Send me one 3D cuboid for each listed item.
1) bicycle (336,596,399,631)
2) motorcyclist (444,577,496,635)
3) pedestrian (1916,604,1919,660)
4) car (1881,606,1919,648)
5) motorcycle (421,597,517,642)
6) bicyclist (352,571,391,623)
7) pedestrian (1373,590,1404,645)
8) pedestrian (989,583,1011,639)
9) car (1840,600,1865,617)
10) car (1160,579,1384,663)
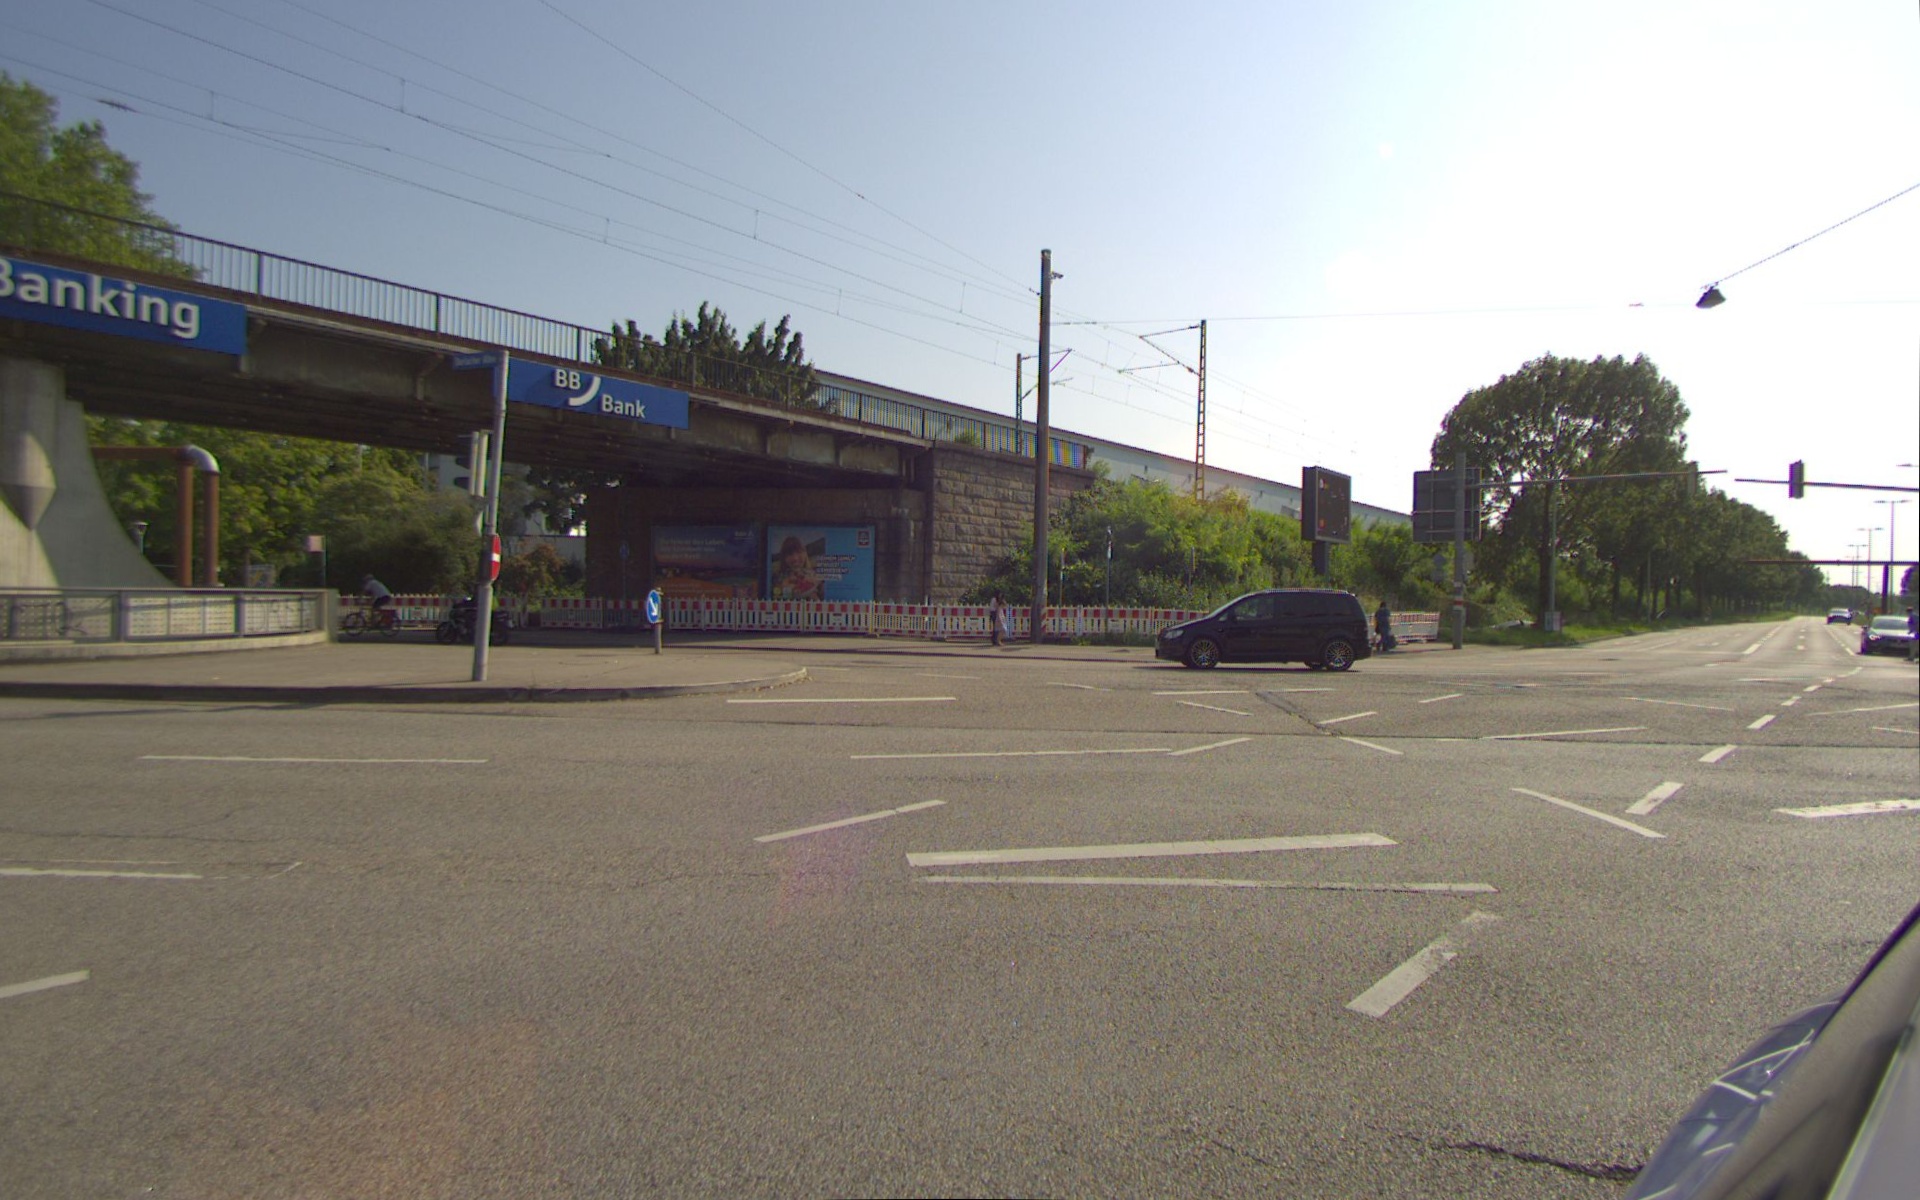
[{"bbox_3d":[-16.738,0.383,28.616,1.530,0.943,0.449,0,2,3],"label":"bicycle"},{"bbox_3d":[-12.409,0.144,25.639,0.924,1.449,0.742,1,0,7],"label":"motorcyclist"},{"bbox_3d":[30.393,1.017,31.650,0.644,1.746,0.579,1,1,39],"label":"pedestrian"},{"bbox_3d":[34.578,0.959,36.779,1.541,1.460,3.341,1,1,44],"label":"car"},{"bbox_3d":[-12.431,0.485,25.649,2.129,1.034,0.754,2,1,7],"label":"motorcycle"},{"bbox_3d":[-16.629,-0.081,28.600,0.798,1.443,0.443,0,2,3],"label":"bicyclist"},{"bbox_3d":[12.917,0.520,30.502,0.647,1.593,0.748,3,2,40],"label":"pedestrian"},{"bbox_3d":[1.147,0.316,29.297,0.623,1.594,0.490,0,0,4],"label":"pedestrian"},{"bbox_3d":[90.613,0.853,102.705,1.859,1.614,3.938,1,1,42],"label":"car"},{"bbox_3d":[6.315,0.430,20.866,4.121,1.608,1.778,1,-2,6],"label":"car"}]
